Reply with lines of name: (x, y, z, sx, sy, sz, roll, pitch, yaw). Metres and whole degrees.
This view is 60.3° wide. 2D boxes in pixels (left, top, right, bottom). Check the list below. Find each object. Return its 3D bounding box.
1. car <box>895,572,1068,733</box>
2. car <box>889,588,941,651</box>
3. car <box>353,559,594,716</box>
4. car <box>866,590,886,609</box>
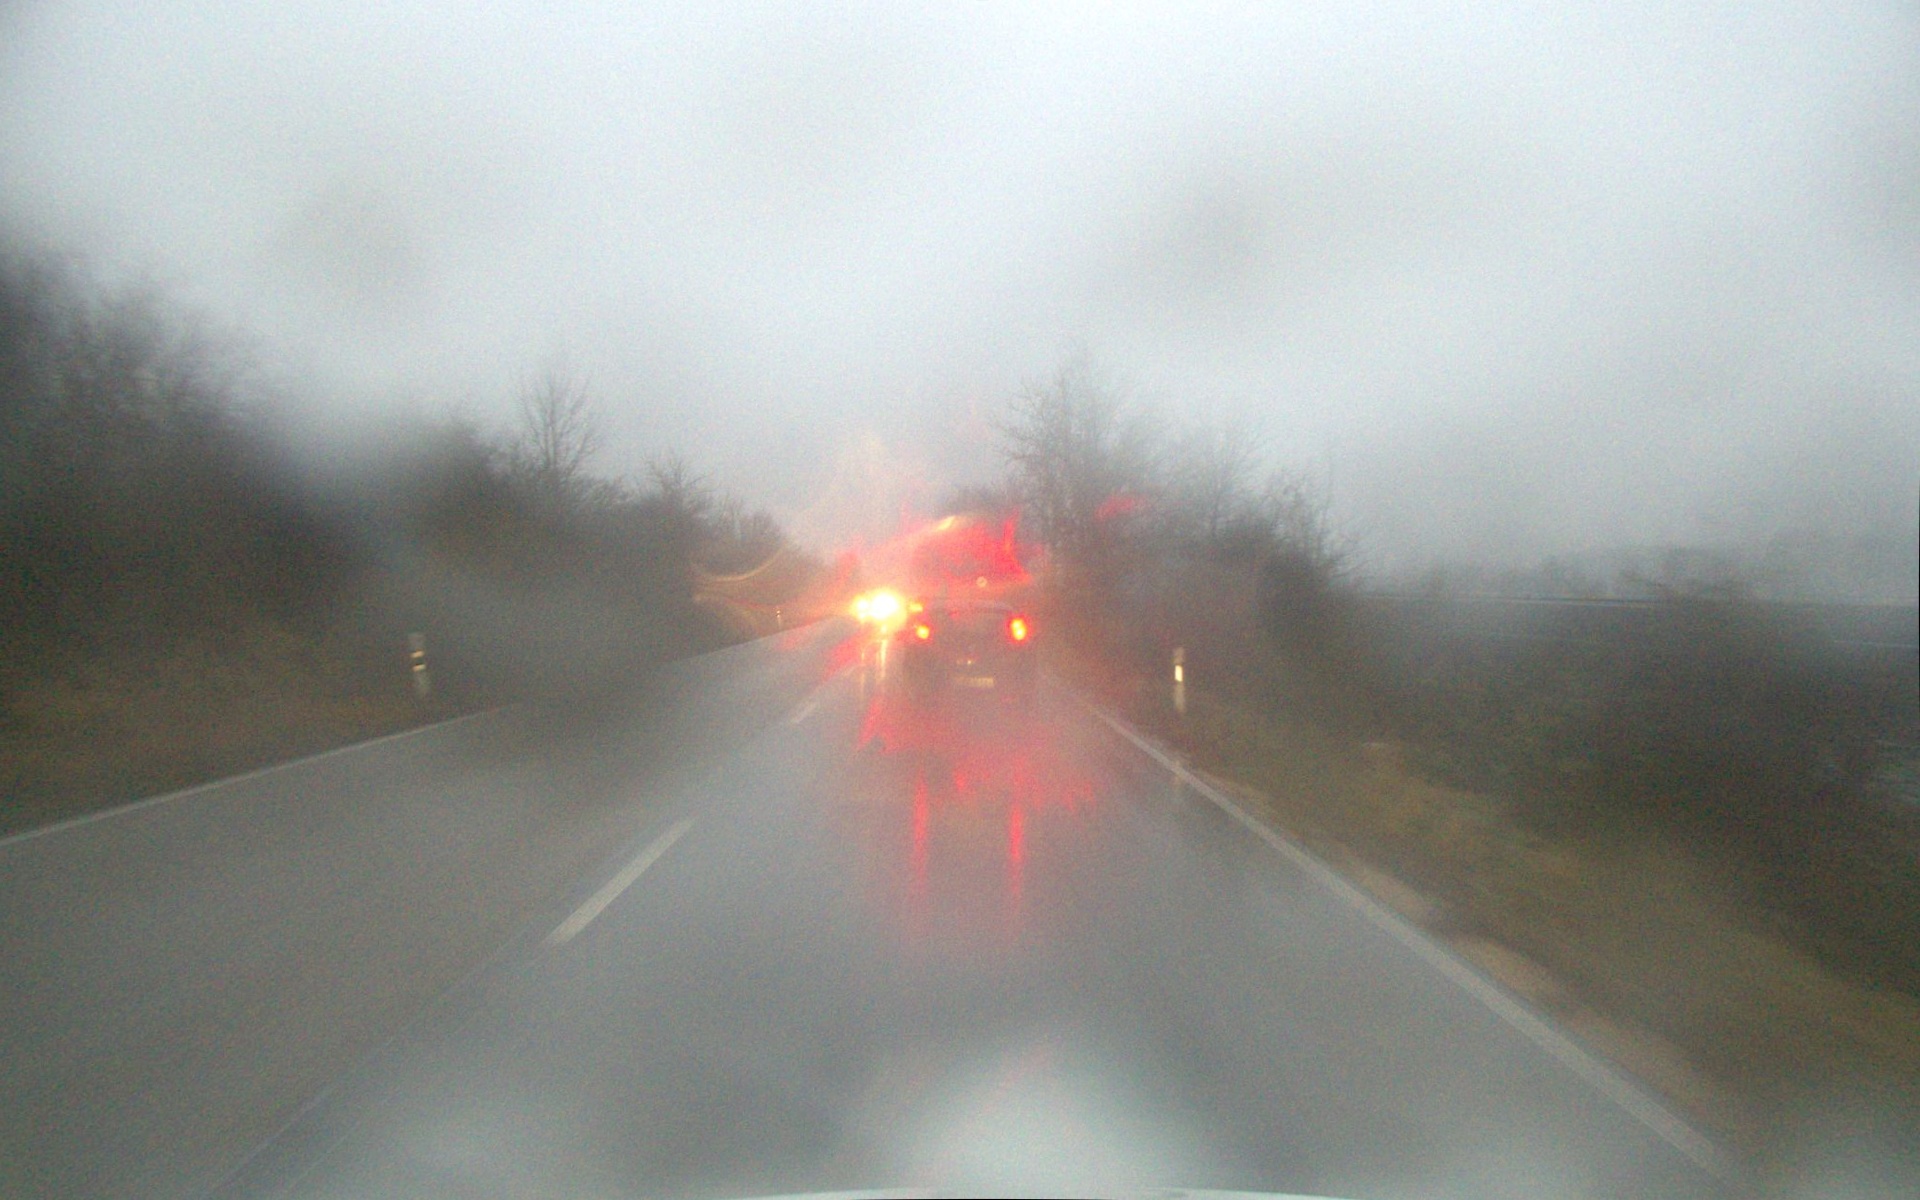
car: (0.226, 0.606, 21.021, 1.953, 1.816, 3.999, 1, 0, -1)
car: (-1.385, 0.594, 52.226, 1.542, 1.908, 3.708, 1, 0, -1)
car: (-6.194, 0.446, 21.555, 1.953, 1.816, 3.999, 1, 0, -1)
car: (-7.169, -0.035, 141.551, 1.657, 1.557, 4.084, 1, 0, -2)
